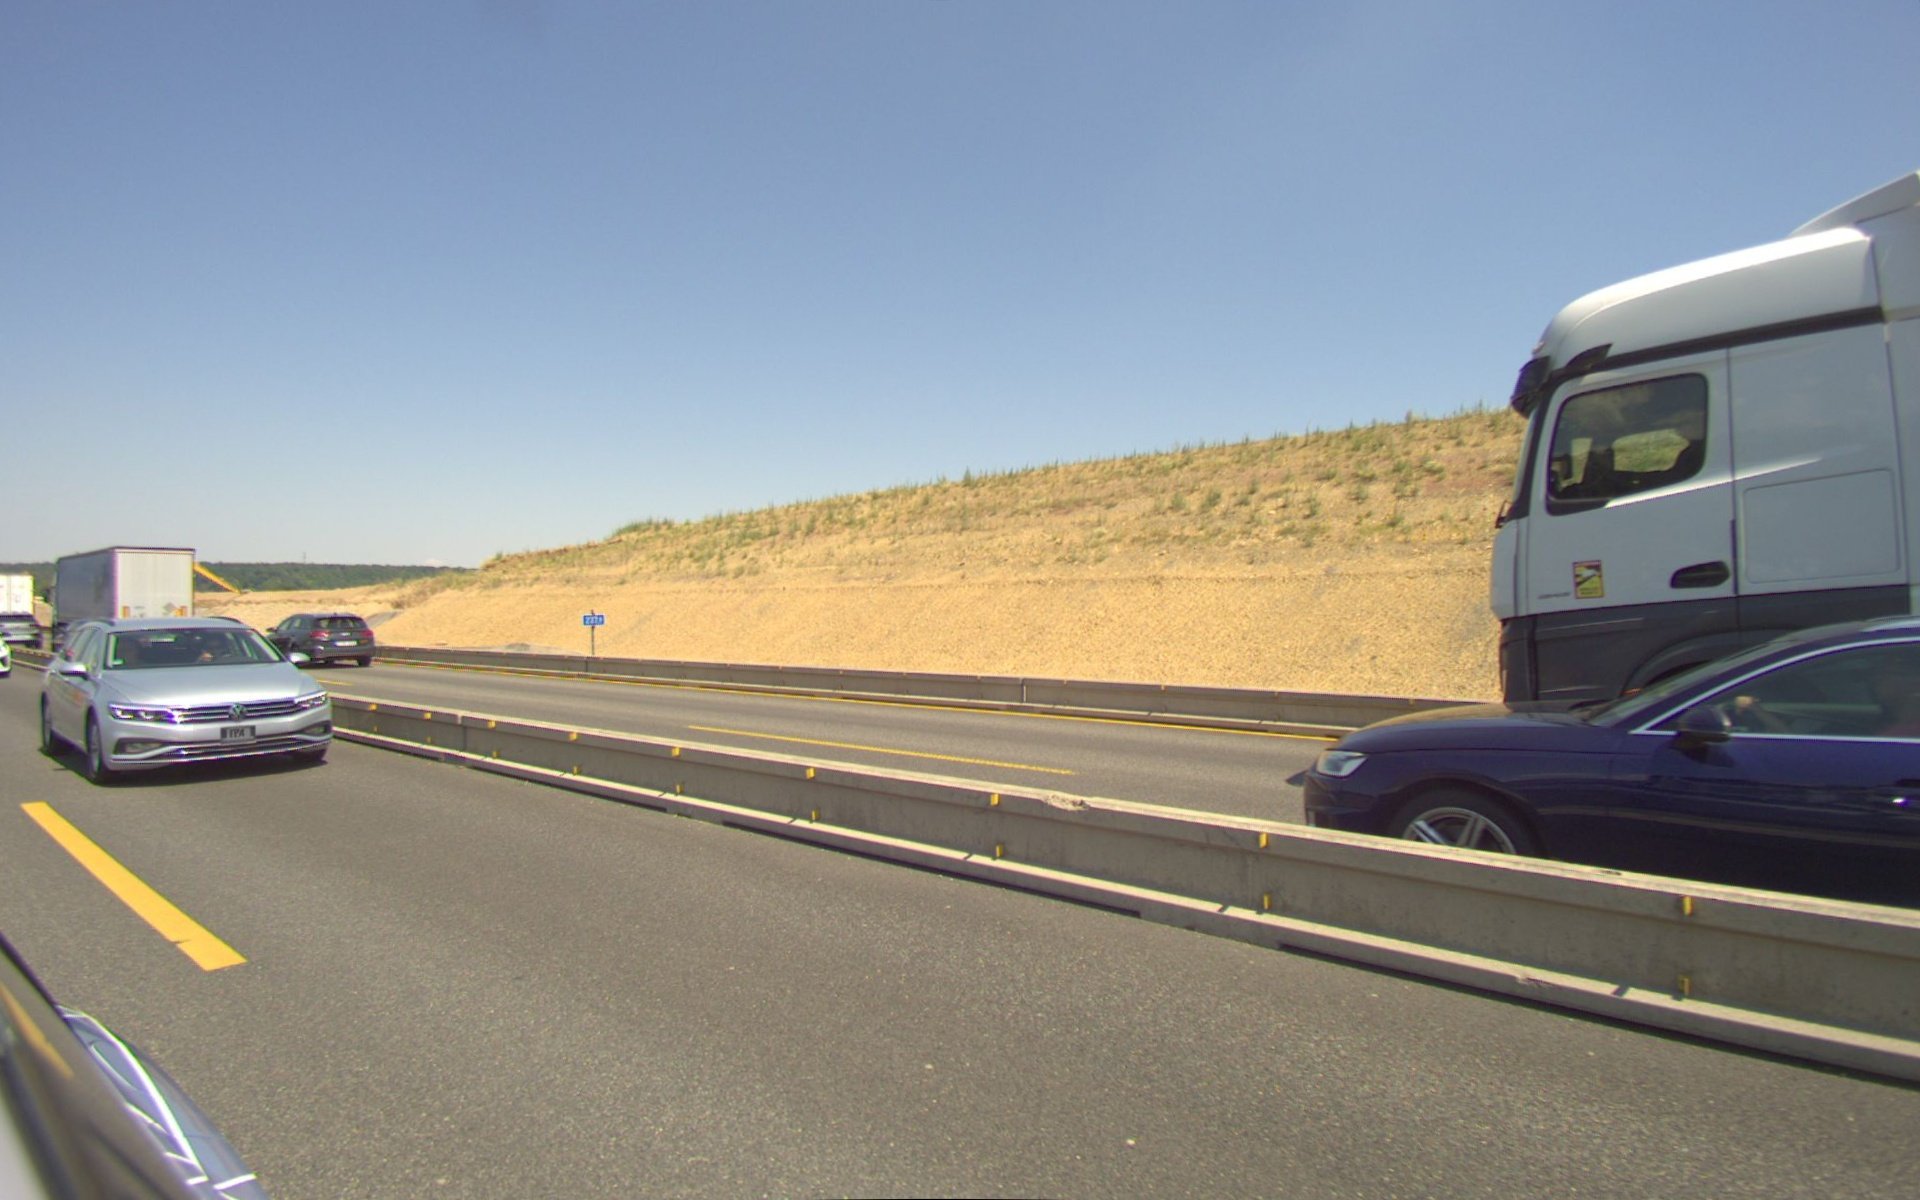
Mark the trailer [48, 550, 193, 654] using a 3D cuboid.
[{"bbox_3d":[-36.702,0.125,43.935,13.989,3.968,2.626,-1,0,41],"label":"trailer"}]

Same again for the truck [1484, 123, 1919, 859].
[{"bbox_3d":[6.407,-0.616,6.467,4.942,4.074,2.739,0,1,42],"label":"truck"}]

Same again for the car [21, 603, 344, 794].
[{"bbox_3d":[-7.958,0.827,10.221,4.098,1.519,1.781,-1,0,41],"label":"car"}]

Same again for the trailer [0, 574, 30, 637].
[{"bbox_3d":[-69.336,0.425,72.418,15.527,4.211,2.476,-1,-2,42],"label":"trailer"}]

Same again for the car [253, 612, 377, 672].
[{"bbox_3d":[-17.711,1.097,27.711,4.498,1.435,1.614,0,1,40],"label":"car"}]

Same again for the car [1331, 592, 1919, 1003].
[{"bbox_3d":[4.000,0.673,3.979,4.481,1.397,1.709,0,1,40],"label":"car"}]

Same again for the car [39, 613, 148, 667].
[{"bbox_3d":[-25.905,1.128,30.193,4.857,1.397,1.711,0,1,40],"label":"car"}]

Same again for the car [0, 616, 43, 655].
[{"bbox_3d":[-40.394,1.485,42.825,4.136,1.567,1.757,-1,-3,40],"label":"car"}]

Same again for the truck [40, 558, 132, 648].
[{"bbox_3d":[-41.947,0.173,48.532,5.145,4.084,2.566,-1,0,40],"label":"truck"}]

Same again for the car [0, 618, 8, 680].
[{"bbox_3d":[-24.231,1.149,24.152,4.029,1.408,1.851,0,1,42],"label":"car"}]
